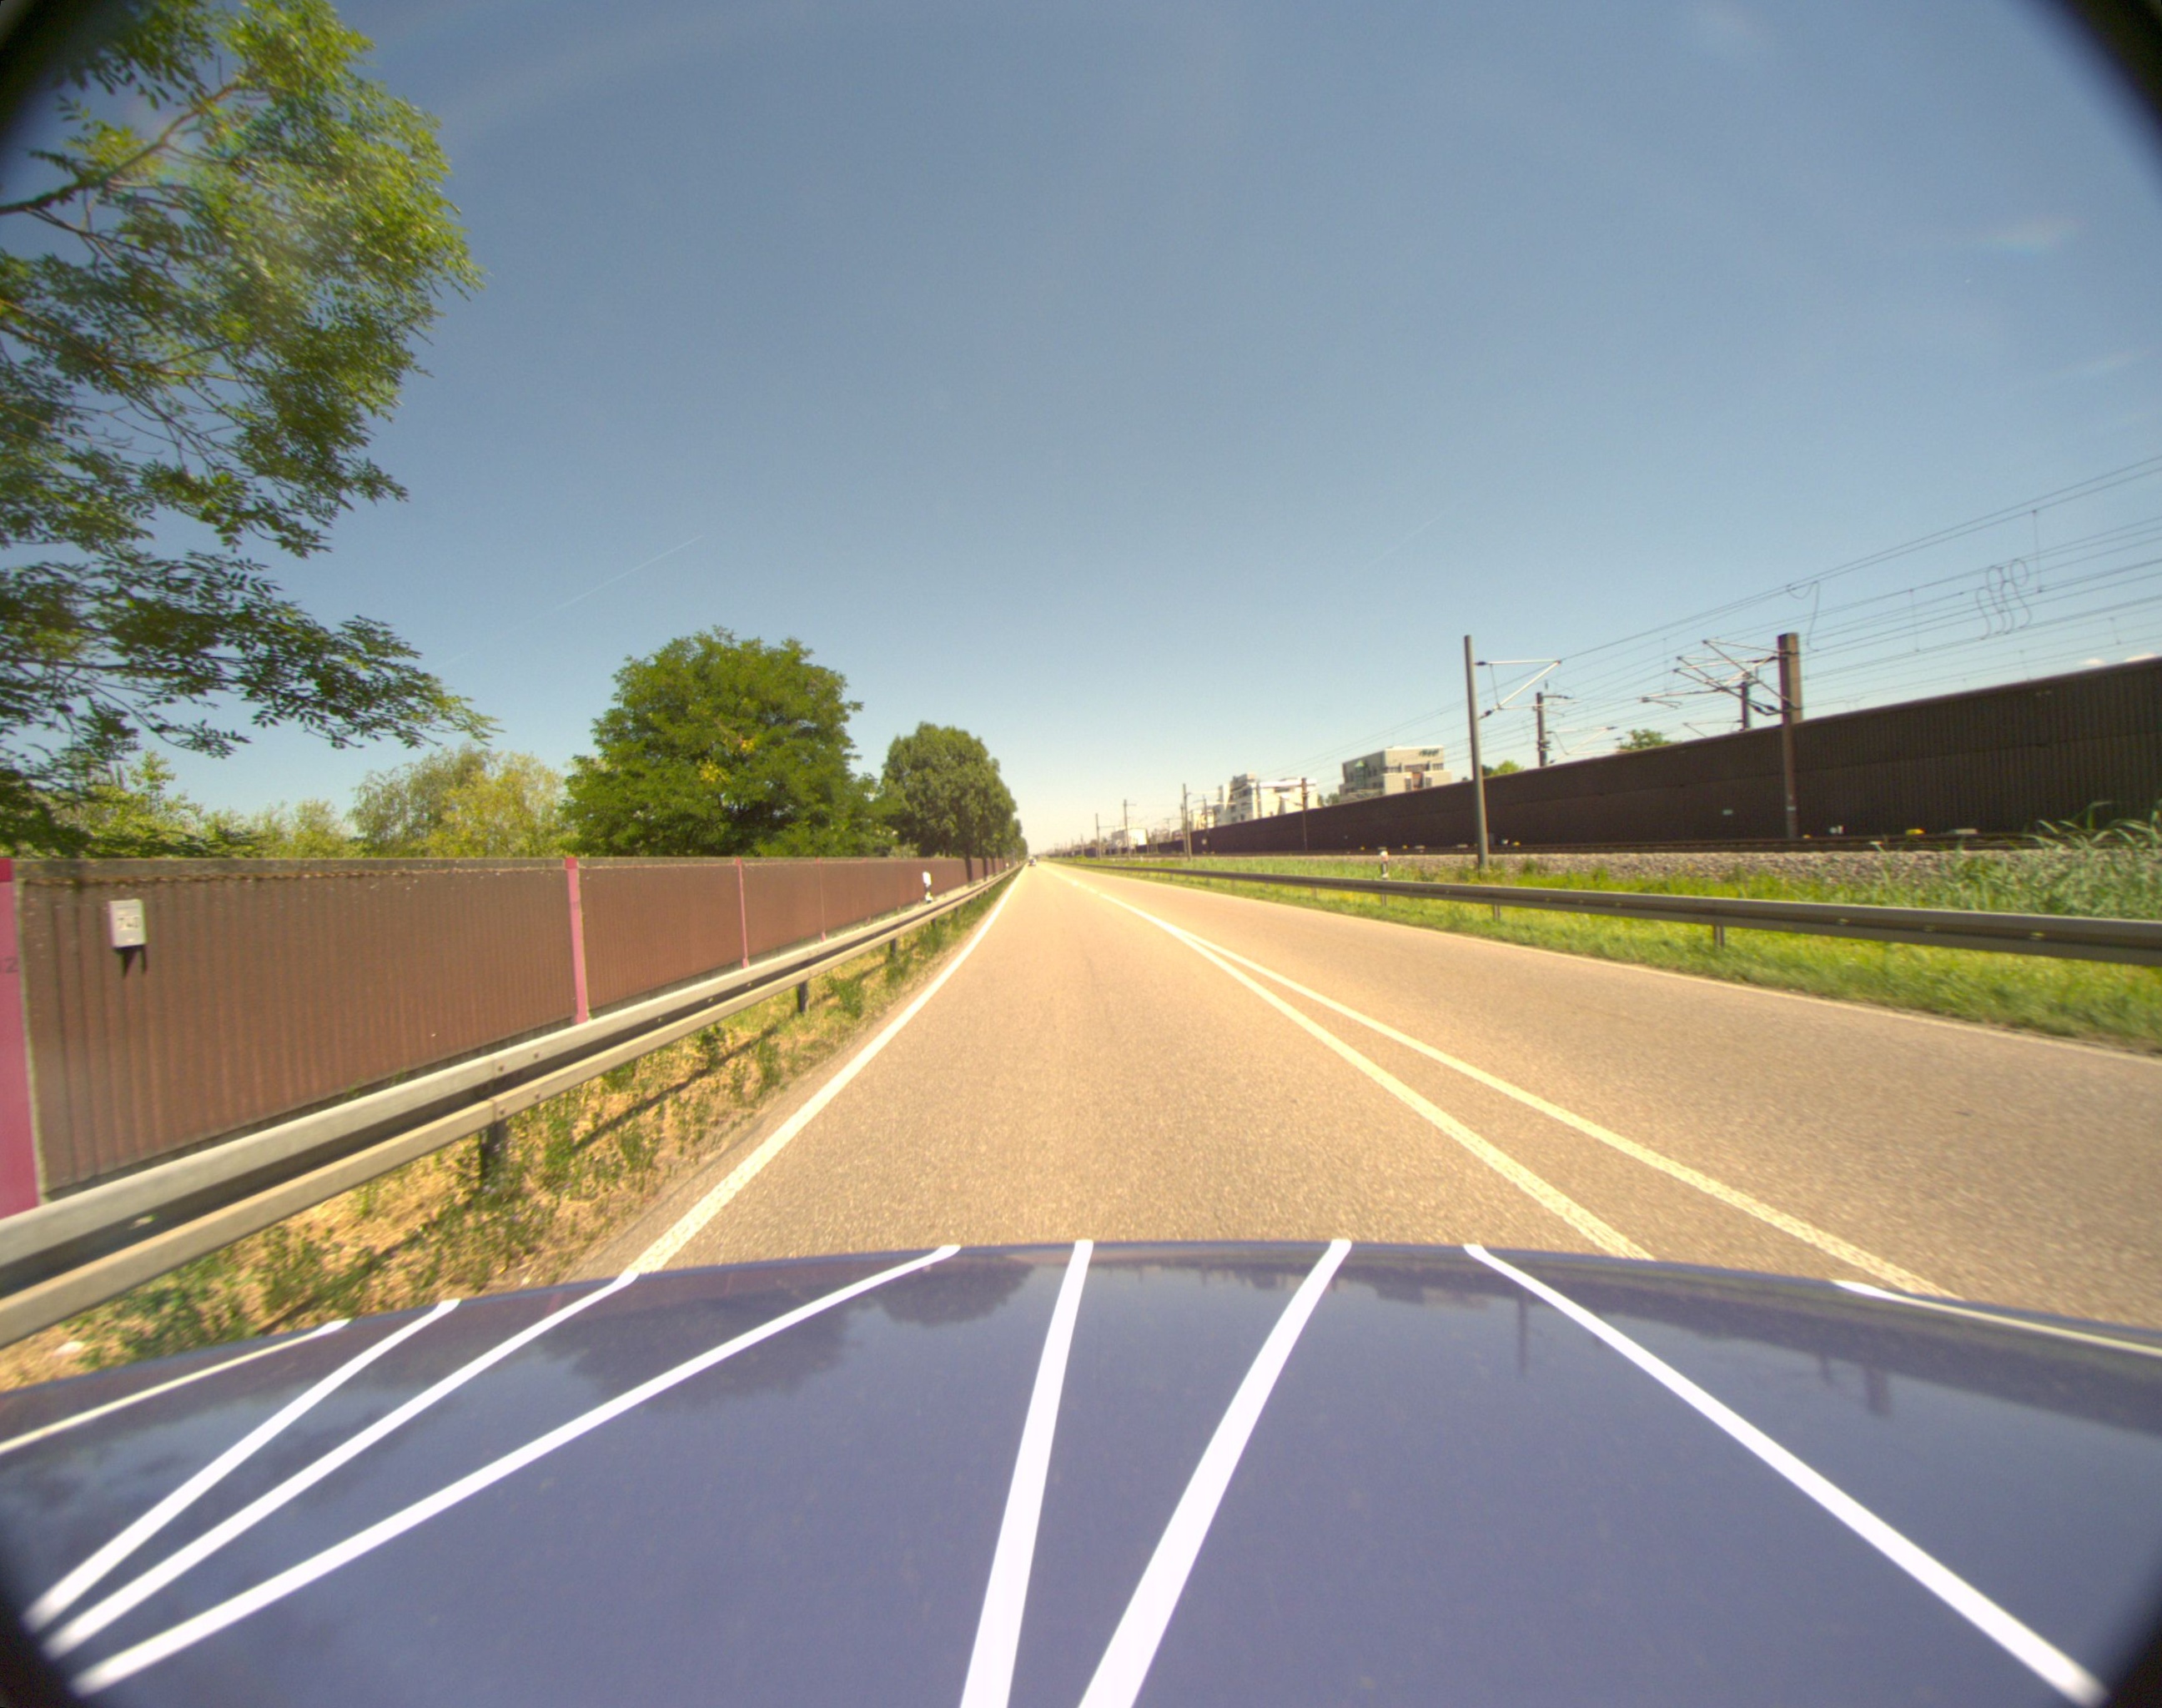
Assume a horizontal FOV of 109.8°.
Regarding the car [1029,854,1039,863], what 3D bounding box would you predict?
[{"bbox_3d":[-11.062,1.144,177.961,1.999,2.002,3.999,-3,0,-1],"label":"car"}]
